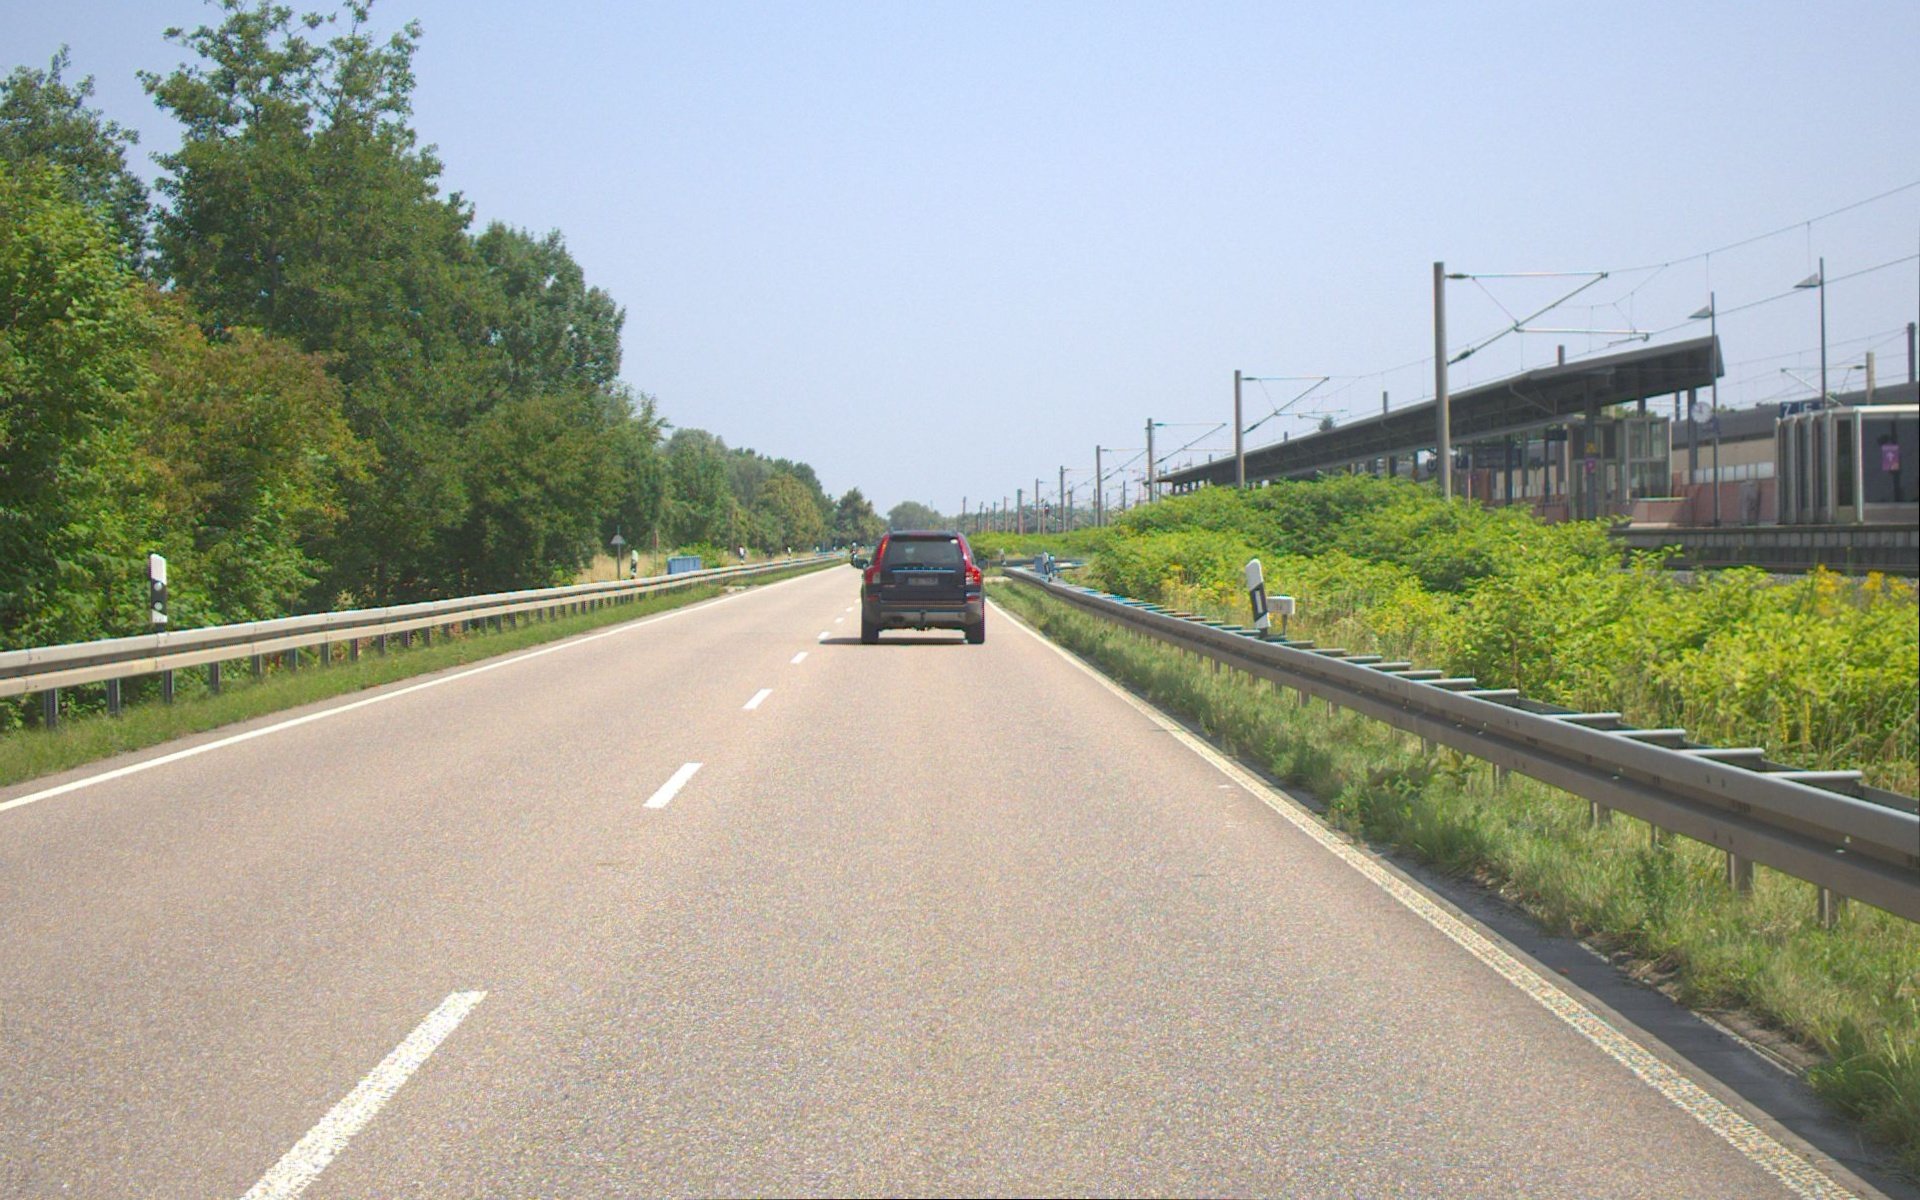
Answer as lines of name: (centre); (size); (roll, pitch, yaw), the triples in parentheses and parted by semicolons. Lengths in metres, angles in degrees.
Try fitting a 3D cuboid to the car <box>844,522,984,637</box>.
car: (-0.752, -0.345, 52.887); (1.993, 1.694, 4.001); (0, 1, -3)
